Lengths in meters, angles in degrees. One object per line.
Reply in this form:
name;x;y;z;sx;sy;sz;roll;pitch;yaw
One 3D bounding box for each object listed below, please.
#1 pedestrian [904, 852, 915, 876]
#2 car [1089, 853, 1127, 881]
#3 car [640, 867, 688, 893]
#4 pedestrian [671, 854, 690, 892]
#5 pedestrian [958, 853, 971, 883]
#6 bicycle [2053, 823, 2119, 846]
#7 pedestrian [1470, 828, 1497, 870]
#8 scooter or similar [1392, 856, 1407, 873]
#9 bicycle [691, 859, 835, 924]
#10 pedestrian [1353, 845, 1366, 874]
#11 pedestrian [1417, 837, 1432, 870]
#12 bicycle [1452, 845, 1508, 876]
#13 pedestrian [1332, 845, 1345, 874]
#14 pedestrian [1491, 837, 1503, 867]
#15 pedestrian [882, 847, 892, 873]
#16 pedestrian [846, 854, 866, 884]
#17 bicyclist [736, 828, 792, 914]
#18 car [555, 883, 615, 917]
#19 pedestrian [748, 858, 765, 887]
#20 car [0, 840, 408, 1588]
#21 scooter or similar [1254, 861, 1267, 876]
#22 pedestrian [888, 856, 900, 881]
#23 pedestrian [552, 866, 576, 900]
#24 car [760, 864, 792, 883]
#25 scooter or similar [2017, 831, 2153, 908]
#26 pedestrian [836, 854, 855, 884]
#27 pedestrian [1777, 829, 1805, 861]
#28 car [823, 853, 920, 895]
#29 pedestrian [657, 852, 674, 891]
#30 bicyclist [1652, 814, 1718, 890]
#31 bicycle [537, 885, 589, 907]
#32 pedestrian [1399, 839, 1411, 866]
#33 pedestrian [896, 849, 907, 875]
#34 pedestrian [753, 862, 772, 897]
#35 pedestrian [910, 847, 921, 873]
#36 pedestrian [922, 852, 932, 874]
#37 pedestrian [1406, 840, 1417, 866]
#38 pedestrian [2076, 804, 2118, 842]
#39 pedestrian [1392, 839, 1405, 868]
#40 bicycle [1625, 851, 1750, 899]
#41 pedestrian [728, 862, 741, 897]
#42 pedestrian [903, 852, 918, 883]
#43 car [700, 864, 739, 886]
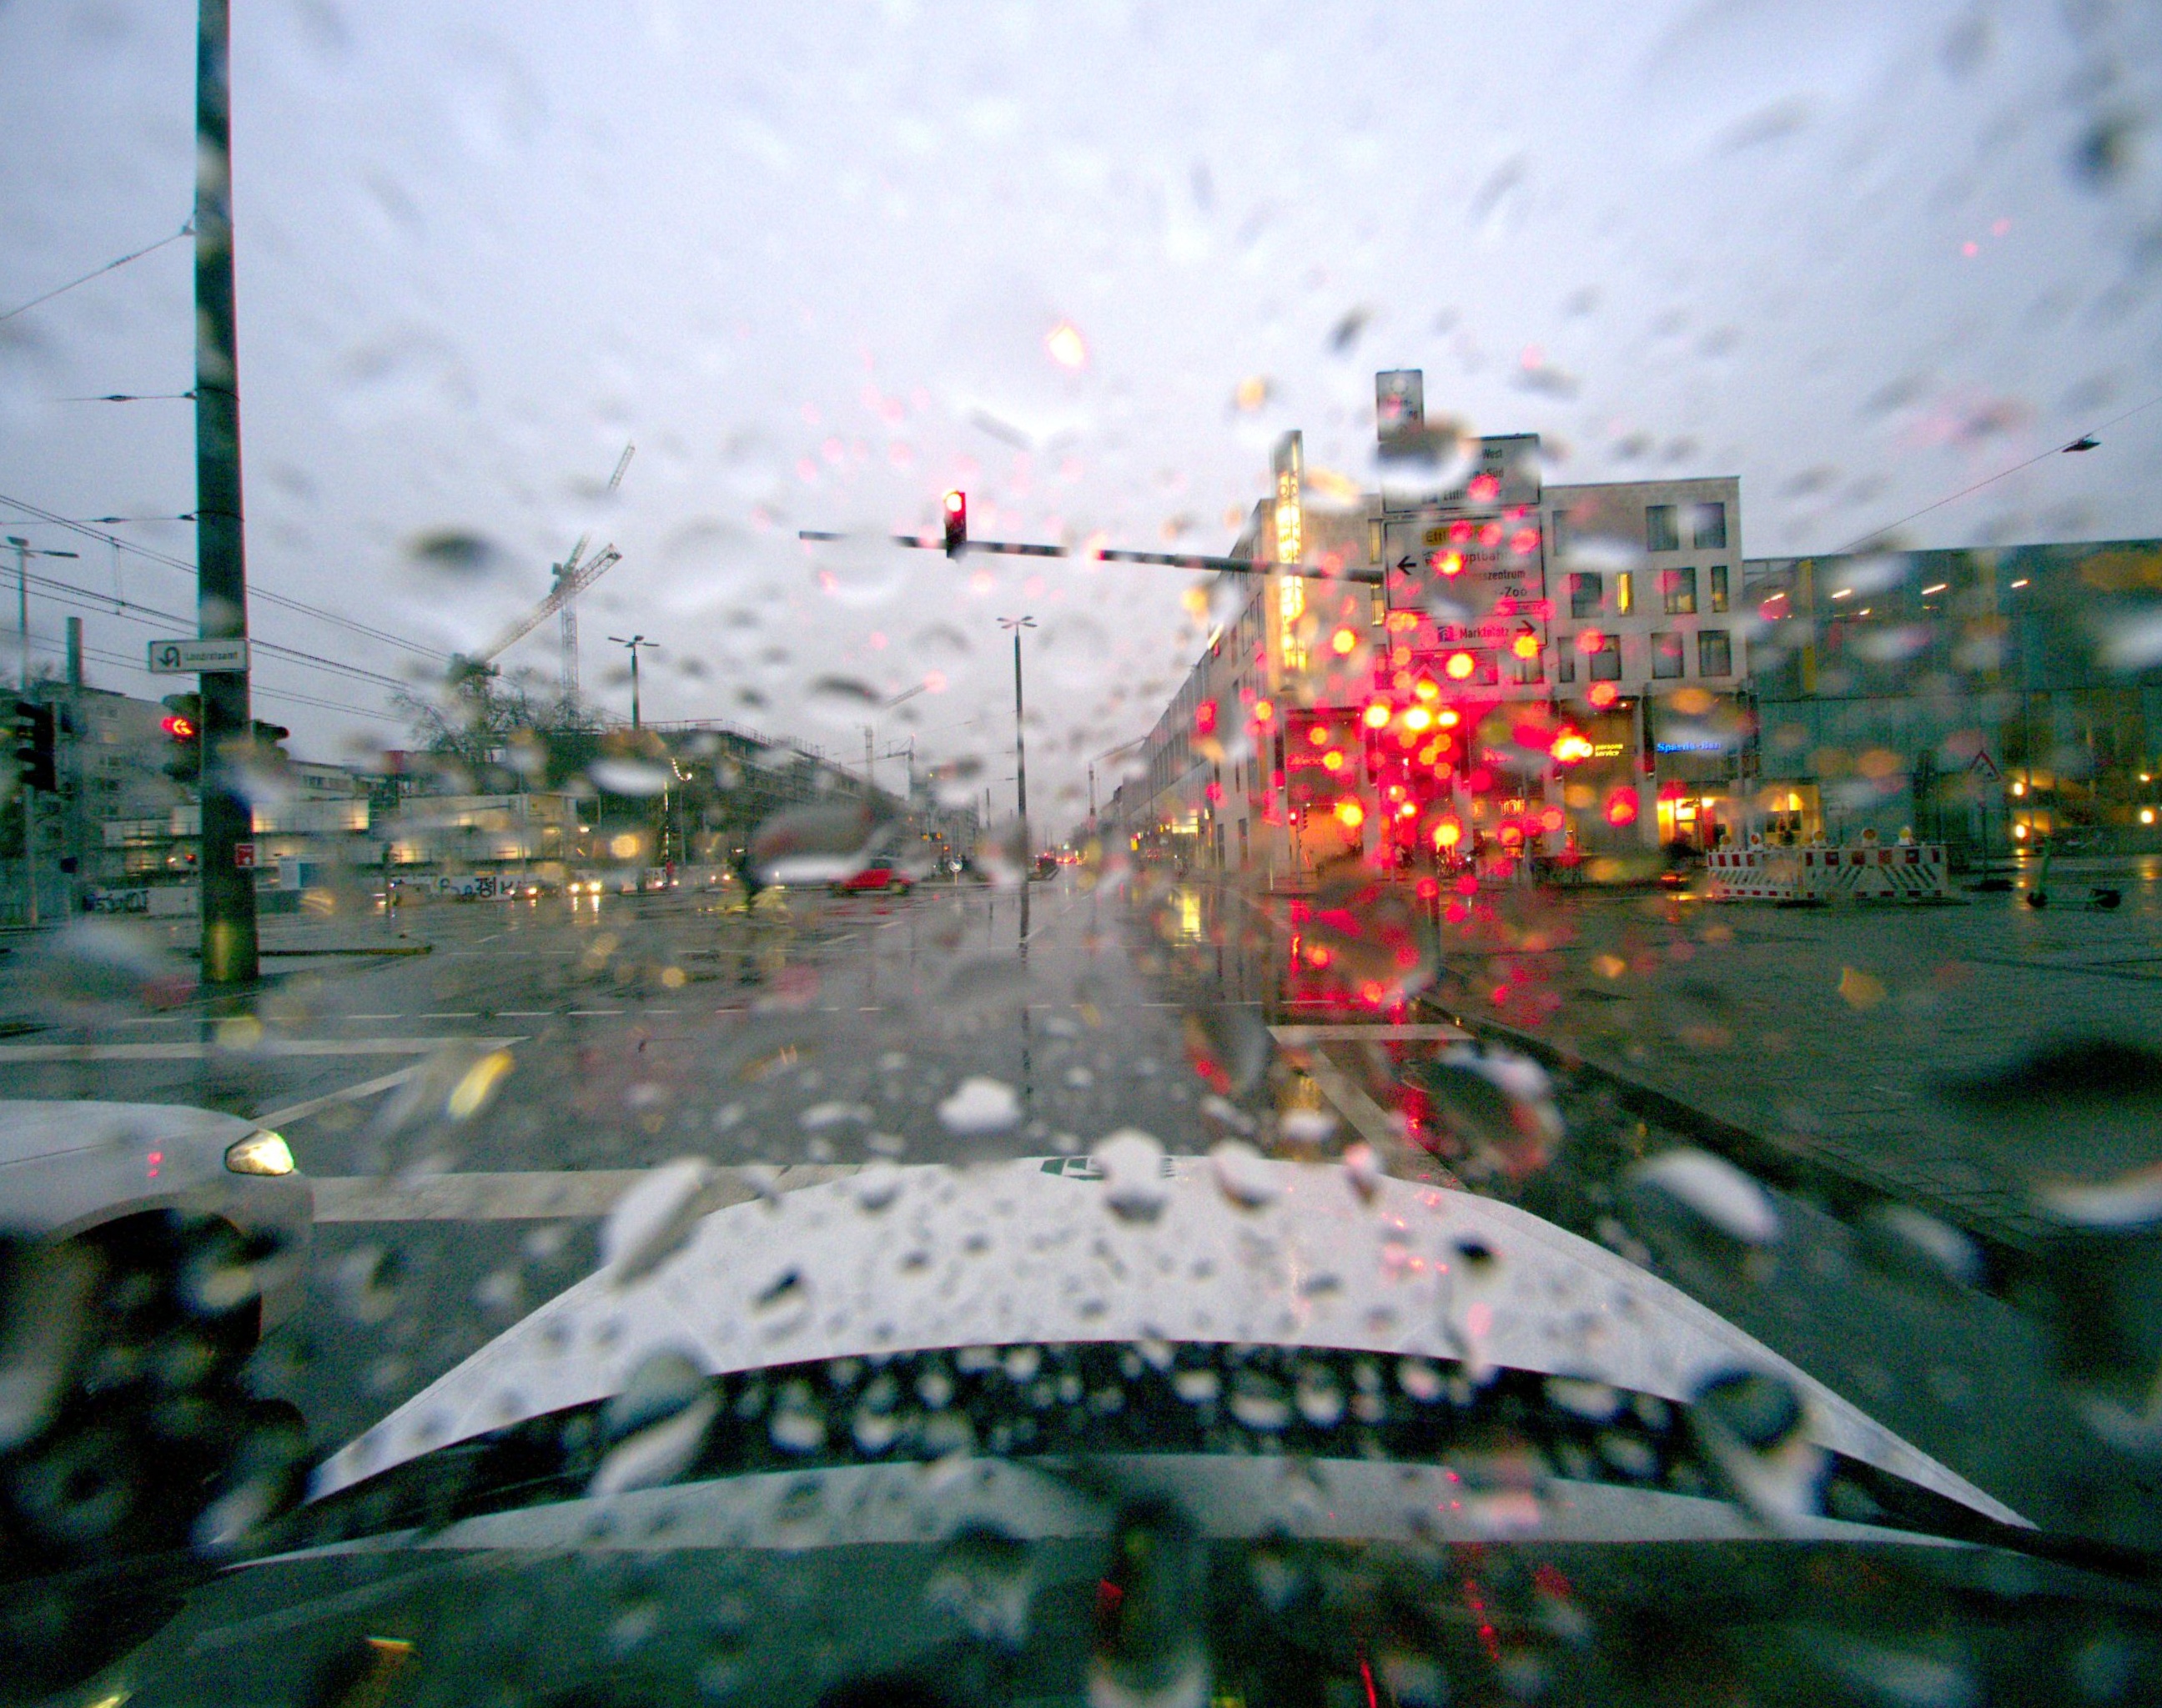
pedestrian;-12.611;0.752;59.809;0.610;1.746;0.620;-2;-1;-4
car;1.627;0.785;50.360;1.969;1.530;3.996;-2;0;-2
car;-34.727;2.113;67.911;1.988;2.013;3.997;-2;0;-2
pedestrian;-22.182;1.049;45.126;0.781;2.013;0.606;-2;-1;-37
pedestrian;-6.862;0.813;47.989;0.631;1.772;0.484;-2;-1;0
bicycle;48.535;-0.912;39.365;0.613;1.033;2.138;-2;0;3
pedestrian;15.527;-0.197;31.403;0.775;1.595;0.616;-2;-1;17
scooter or similar;19.196;0.607;49.120;0.738;0.993;0.401;-2;-1;3
bicycle;-6.935;0.802;17.866;2.829;1.362;0.719;0;-1;-8
pedestrian;16.958;0.323;49.520;0.530;1.718;0.505;-3;-1;39
pedestrian;17.951;-0.026;42.507;0.530;1.685;0.552;-3;-1;39
bicycle;15.385;0.249;31.431;1.831;1.093;0.620;-2;-1;16
pedestrian;15.703;0.338;49.700;0.530;1.718;0.505;-3;-1;39
pedestrian;24.945;-0.132;48.804;0.509;1.760;0.375;-2;-1;8
pedestrian;-13.569;0.415;56.988;0.611;1.746;0.619;-2;-1;-9
pedestrian;-13.033;0.861;47.145;0.835;1.688;0.681;-2;-1;25
bicyclist;-6.936;0.365;17.846;0.993;1.839;0.719;0;-1;-8
car;-34.110;3.133;56.116;1.751;2.013;3.996;-2;0;-3
pedestrian;-18.750;1.053;47.115;0.706;1.619;0.679;-2;-1;-8
car;-3.188;0.759;0.182;1.903;1.520;4.923;-2;0;0
scooter or similar;11.269;0.917;51.156;0.738;0.916;0.401;-2;-1;3
pedestrian;-12.093;0.938;52.730;0.609;1.619;0.708;-2;-1;-2
pedestrian;-24.900;1.405;39.247;0.812;1.570;0.536;-1;-3;-1
car;-34.440;2.151;92.171;1.987;2.013;4.000;-2;0;1
scooter or similar;15.860;0.235;12.905;0.603;1.130;1.236;-2;0;2
pedestrian;-13.484;0.873;46.605;0.823;1.679;0.623;-2;-1;28
pedestrian;36.059;-0.458;41.369;0.791;1.631;0.709;-1;-1;1
car;-8.766;0.826;34.271;3.554;1.582;1.678;-2;-1;3
pedestrian;-22.672;0.955;44.456;0.691;2.087;0.606;-2;-1;-39
bicyclist;14.090;-0.041;19.014;1.028;1.697;0.618;-2;-1;4
bicycle;-24.918;2.035;39.207;2.122;0.992;0.541;-1;-5;-1
pedestrian;20.888;-0.089;52.499;0.530;1.718;0.505;-3;-1;39
pedestrian;-12.546;0.573;57.005;0.660;1.746;0.733;-2;-1;-9
pedestrian;-18.801;1.494;48.067;0.792;2.013;0.745;-2;-1;-9
pedestrian;-11.661;0.422;57.434;0.617;1.746;0.612;-2;-1;-4
pedestrian;-12.398;0.691;65.488;0.660;1.746;0.619;-2;-1;-9
pedestrian;21.965;-0.072;54.097;0.530;1.718;0.505;-3;-1;39
pedestrian;54.635;-1.662;43.794;0.901;2.014;1.023;-1;-1;1
pedestrian;19.115;-0.011;48.983;0.530;1.718;0.505;-3;-1;39
bicycle;14.114;0.485;19.002;2.362;1.033;0.618;-2;-1;3
pedestrian;-20.466;1.505;48.063;0.507;2.013;0.638;-2;0;-9
pedestrian;-10.065;0.785;48.058;0.700;1.760;0.652;-2;-1;2
car;-35.039;2.008;79.072;1.987;2.013;3.999;-2;0;0
